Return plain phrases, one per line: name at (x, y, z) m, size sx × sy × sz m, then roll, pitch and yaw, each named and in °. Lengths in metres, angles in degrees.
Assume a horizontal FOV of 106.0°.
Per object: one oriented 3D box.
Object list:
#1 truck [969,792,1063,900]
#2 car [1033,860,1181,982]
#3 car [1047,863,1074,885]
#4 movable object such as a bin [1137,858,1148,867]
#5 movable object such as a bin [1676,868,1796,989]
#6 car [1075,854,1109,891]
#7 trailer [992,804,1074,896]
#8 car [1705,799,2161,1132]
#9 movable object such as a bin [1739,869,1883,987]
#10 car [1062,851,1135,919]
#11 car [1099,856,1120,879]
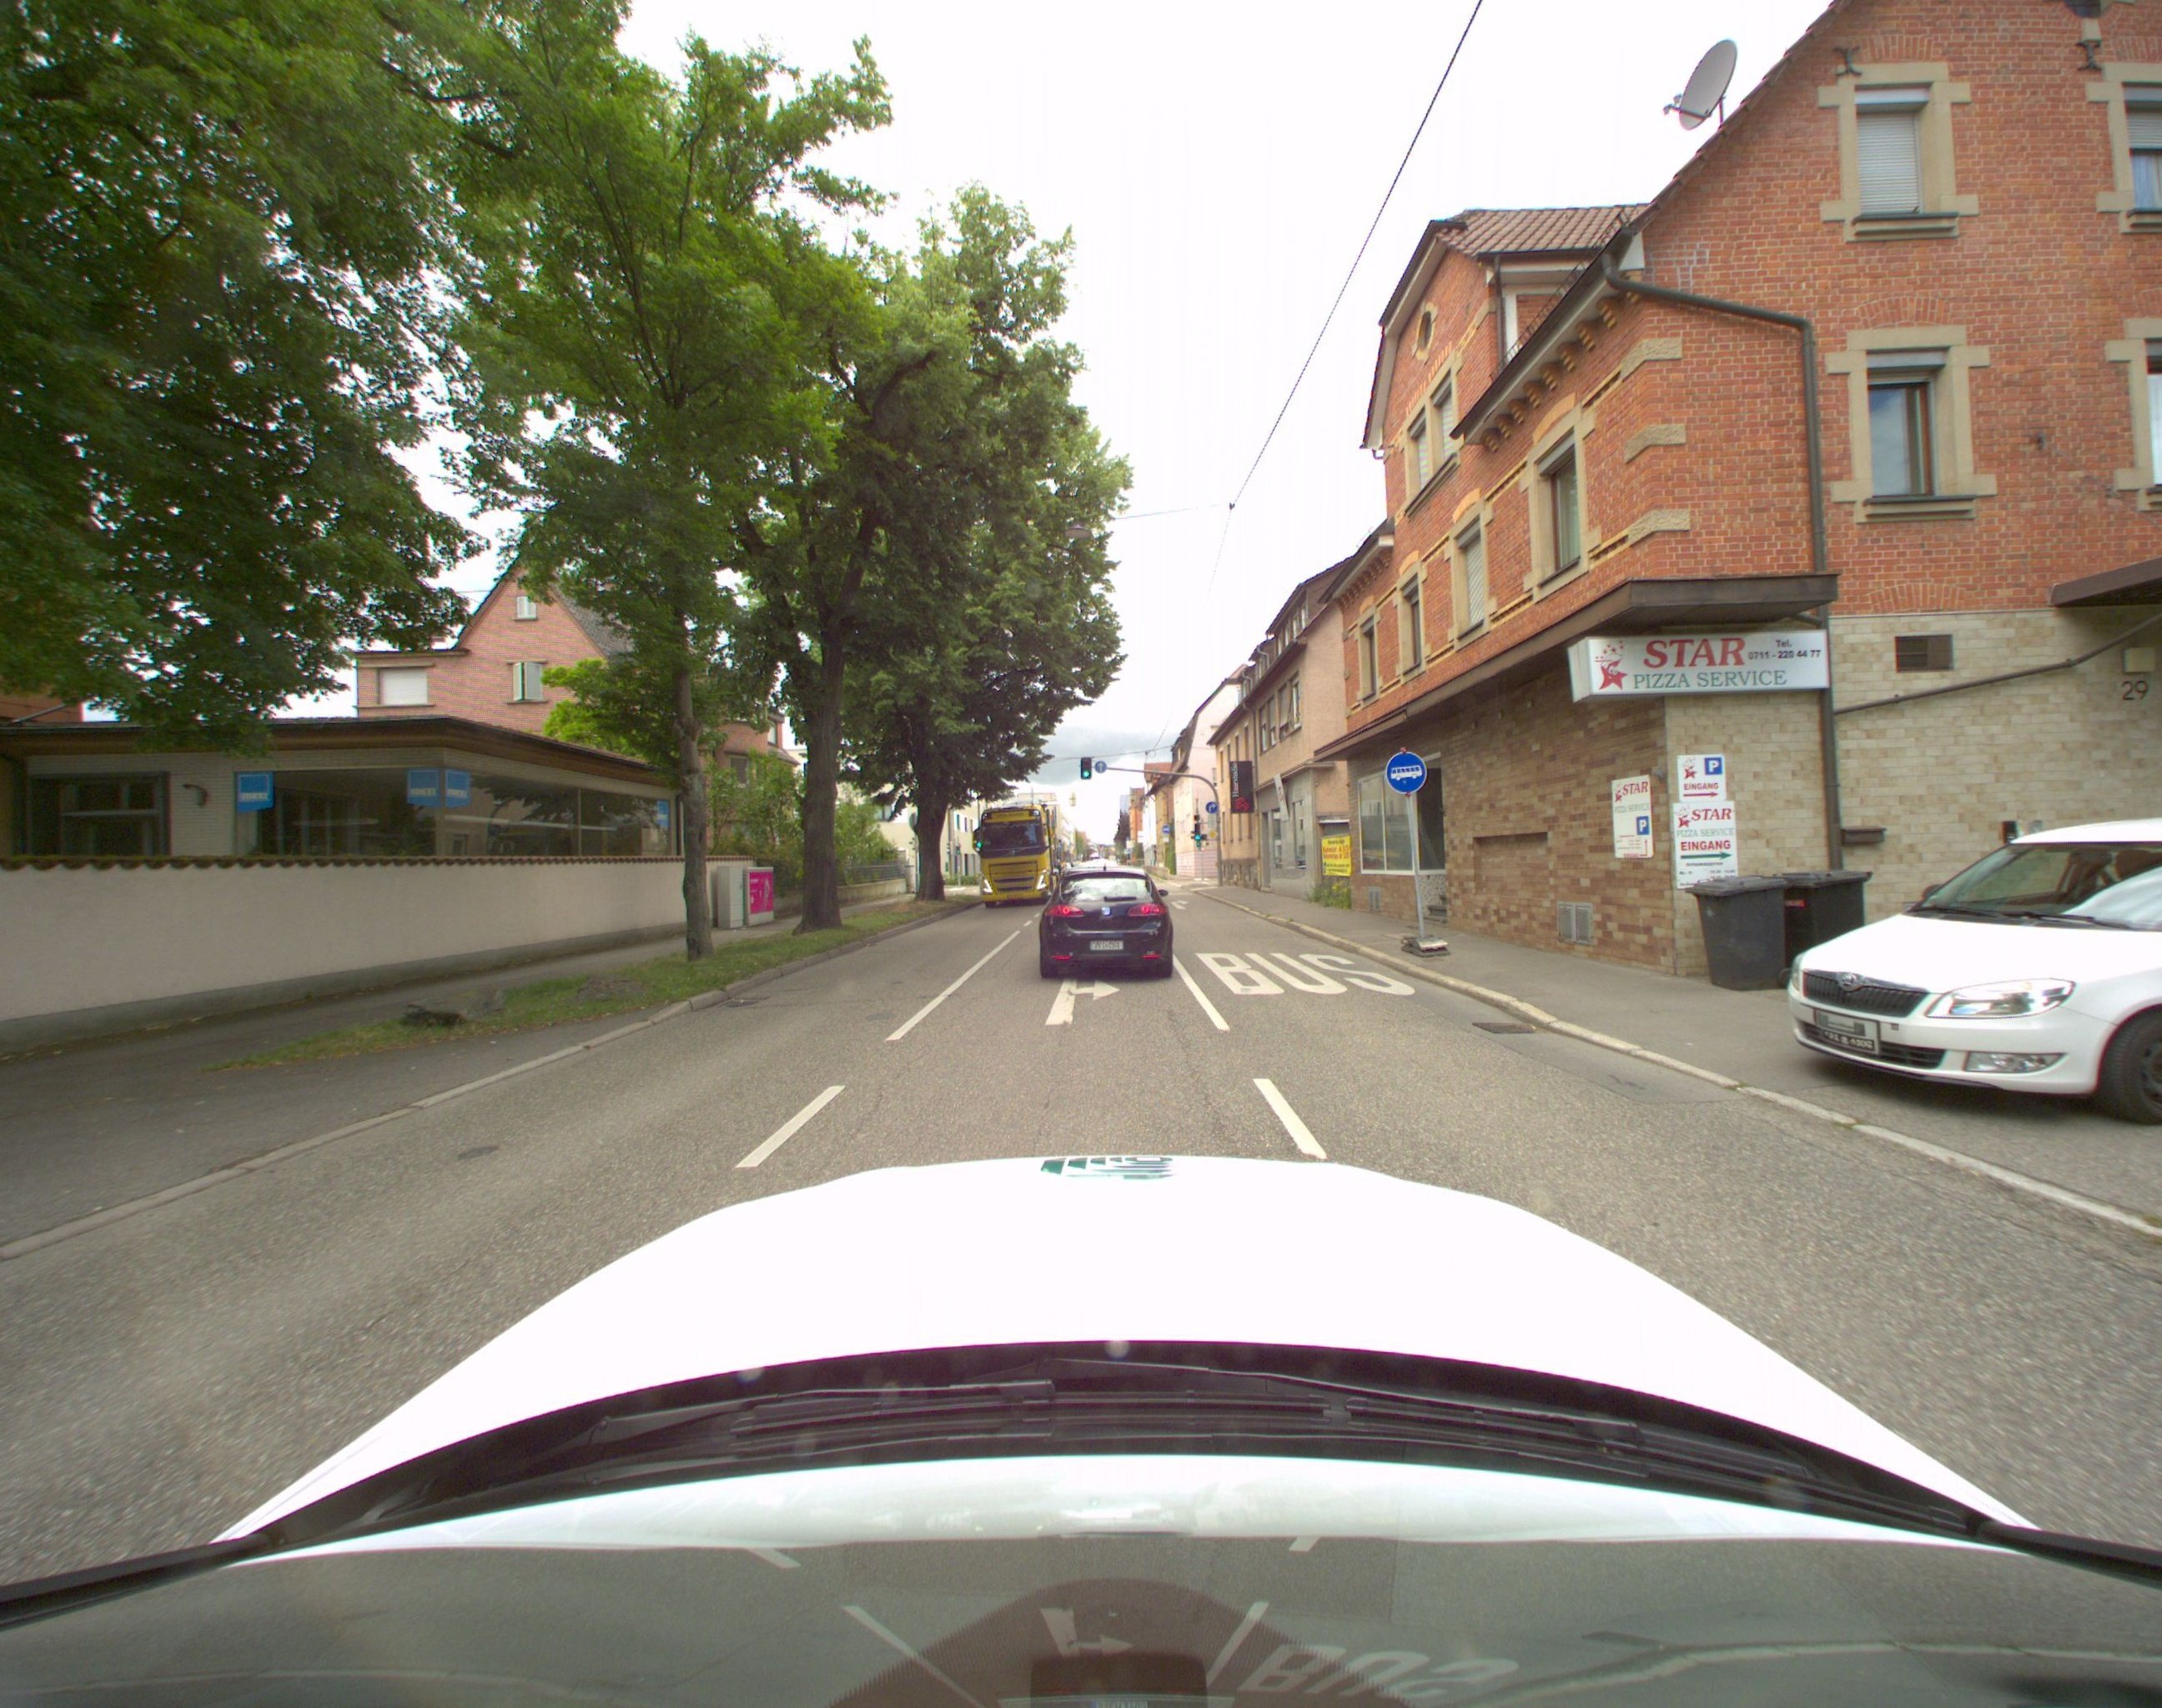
truck at (-2.389, -0.227, 32.647) m, size 2.833 × 3.782 × 7.672 m, roll -1°, pitch -1°, yaw 2°
car at (0.365, 0.835, 11.805) m, size 1.752 × 1.442 × 4.001 m, roll -1°, pitch -1°, yaw 1°
car at (-1.570, 1.550, 63.473) m, size 1.760 × 1.470 × 4.228 m, roll -5°, pitch -1°, yaw 2°
movable object such as a bin at (10.305, 1.466, 137.261) m, size 1.811 × 1.437 × 1.994 m, roll -1°, pitch -1°, yaw 2°
movable object such as a bin at (6.376, 0.703, 7.955) m, size 0.604 × 1.101 × 0.623 m, roll -4°, pitch -1°, yaw 1°
car at (0.552, 0.875, 39.550) m, size 1.526 × 1.693 × 3.693 m, roll -1°, pitch -1°, yaw 1°
trailer at (-2.089, -0.065, 41.389) m, size 2.847 × 3.808 × 14.395 m, roll -1°, pitch -1°, yaw 2°
car at (6.412, 0.459, 4.892) m, size 4.017 × 1.470 × 1.600 m, roll -6°, pitch -1°, yaw -1°
movable object such as a bin at (7.121, 0.696, 7.979) m, size 0.696 × 1.059 × 0.724 m, roll -4°, pitch -1°, yaw 1°
car at (0.498, 0.823, 22.739) m, size 1.836 × 1.693 × 4.000 m, roll -1°, pitch -1°, yaw 1°
car at (2.135, 0.997, 62.378) m, size 1.526 × 1.693 × 3.693 m, roll -1°, pitch -1°, yaw 1°
